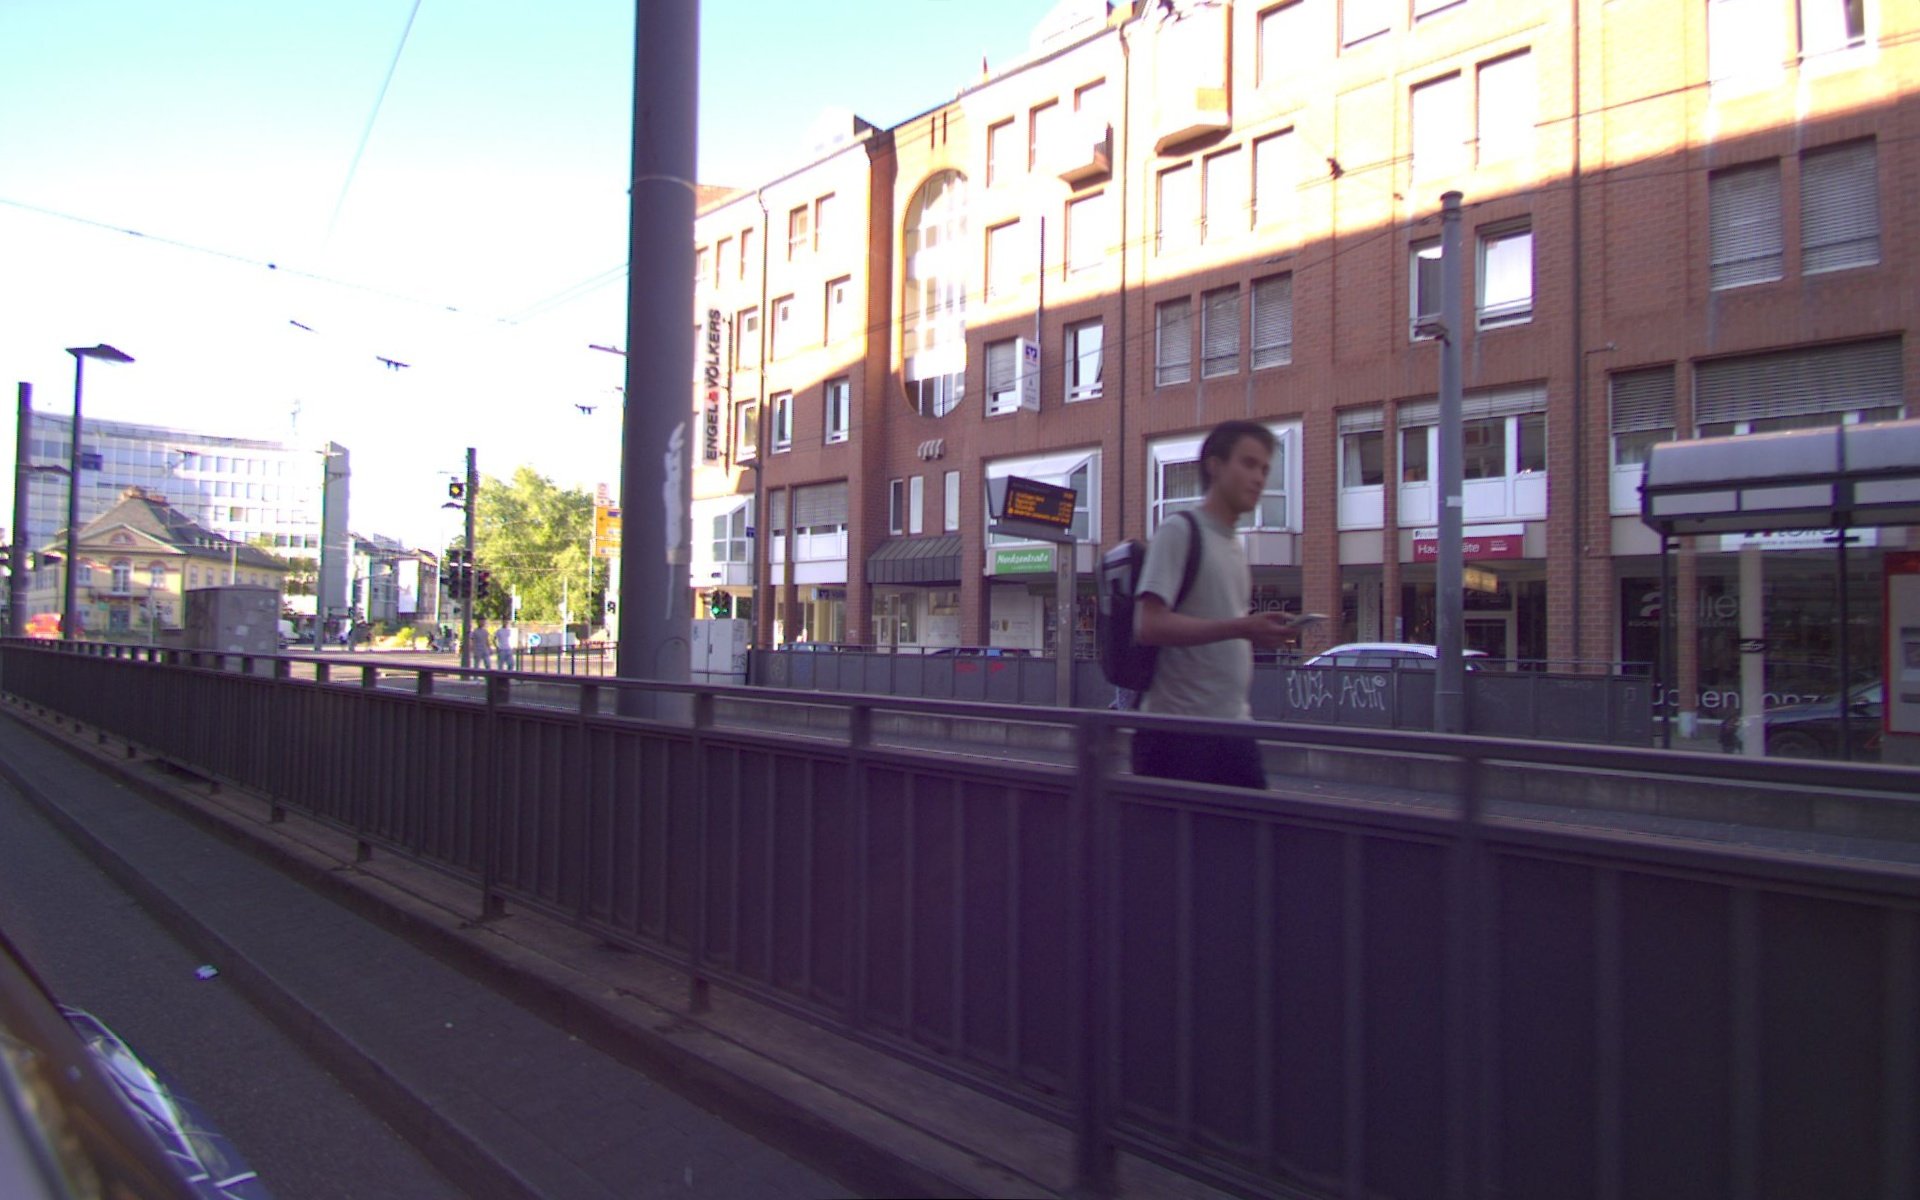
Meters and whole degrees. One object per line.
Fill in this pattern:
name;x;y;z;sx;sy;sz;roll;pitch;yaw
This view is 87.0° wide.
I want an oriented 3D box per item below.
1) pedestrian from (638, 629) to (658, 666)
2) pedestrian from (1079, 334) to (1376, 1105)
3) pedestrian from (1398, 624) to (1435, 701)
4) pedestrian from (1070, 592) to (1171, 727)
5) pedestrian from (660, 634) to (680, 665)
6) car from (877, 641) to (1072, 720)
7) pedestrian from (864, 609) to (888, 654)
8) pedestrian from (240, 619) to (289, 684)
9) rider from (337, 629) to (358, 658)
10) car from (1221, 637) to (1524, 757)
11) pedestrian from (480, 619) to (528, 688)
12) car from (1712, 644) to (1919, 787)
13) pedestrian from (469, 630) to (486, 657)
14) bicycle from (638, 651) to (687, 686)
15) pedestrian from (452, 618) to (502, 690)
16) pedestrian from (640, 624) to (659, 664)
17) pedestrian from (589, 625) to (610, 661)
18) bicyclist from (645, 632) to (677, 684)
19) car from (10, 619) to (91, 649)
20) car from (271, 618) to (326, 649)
pedestrian;-15.436;2.343;50.125;0.847;1.780;0.813;-1;0;-12
pedestrian;0.748;0.281;2.794;0.605;1.805;0.577;-1;-2;40
pedestrian;10.118;1.372;22.440;0.636;1.674;0.606;-1;-3;36
pedestrian;2.101;0.759;13.223;0.967;1.674;0.902;-1;-3;40
pedestrian;-14.457;2.454;50.454;0.847;1.522;0.813;-1;0;-12
car;0.267;1.760;22.896;4.194;1.612;1.873;-2;-4;40
pedestrian;-3.209;1.205;38.700;0.637;1.674;0.605;-1;-3;40
pedestrian;-19.890;1.468;28.951;0.852;1.817;0.808;-1;0;13
rider;-44.681;3.160;73.831;0.997;2.029;1.023;-1;0;-15
car;6.799;1.525;16.938;4.290;1.606;1.889;1;-3;42
pedestrian;-12.008;1.392;26.649;0.808;1.780;0.851;-1;0;32
car;12.094;1.465;12.539;4.290;1.606;1.889;1;-3;42
pedestrian;-37.433;3.380;78.489;0.997;2.029;0.992;-1;0;-15
bicycle;-10.493;2.400;35.616;2.052;1.129;0.567;-1;0;39
pedestrian;-12.354;1.369;25.879;0.808;1.780;0.852;-1;0;30
pedestrian;-16.221;2.295;52.842;0.847;2.029;0.813;-1;0;-12
pedestrian;-20.886;2.478;58.642;0.856;2.029;0.804;-1;0;27
bicyclist;-10.522;2.015;35.646;0.810;1.780;0.729;-1;0;39
car;-76.141;2.837;84.770;5.371;2.474;2.531;-1;-2;15
car;-69.353;3.511;106.280;2.501;3.071;6.389;3;-2;-12
